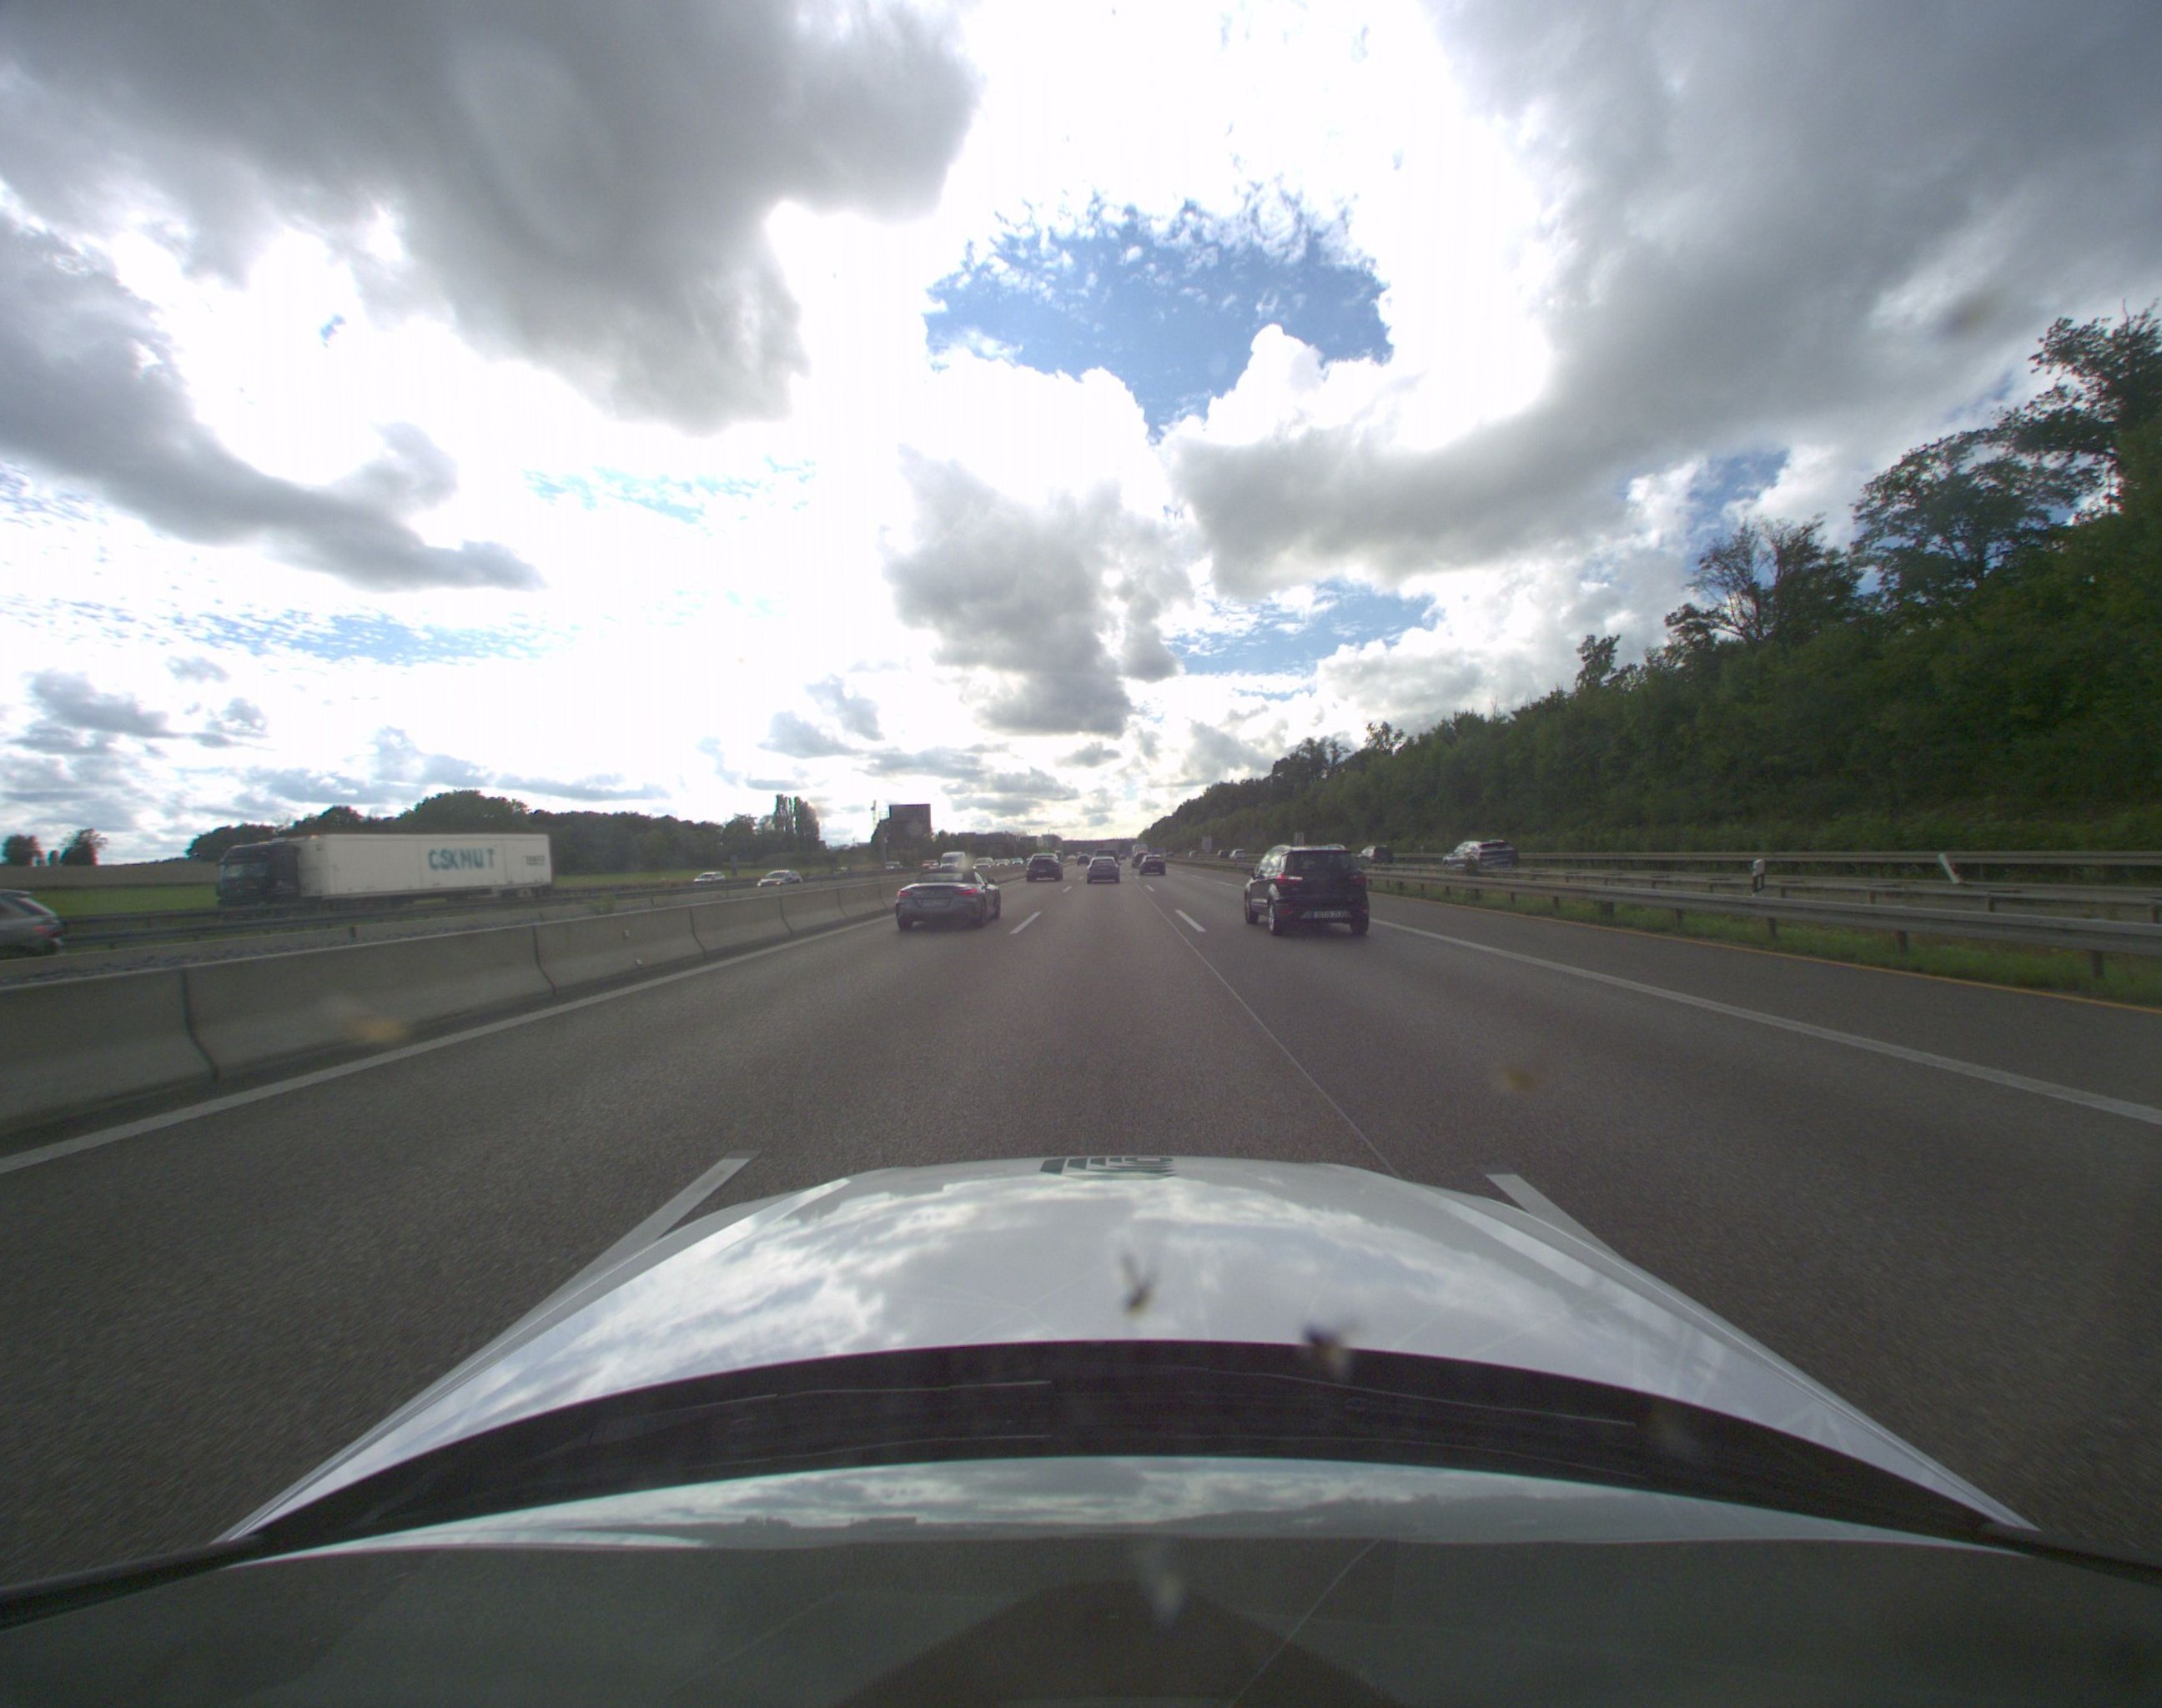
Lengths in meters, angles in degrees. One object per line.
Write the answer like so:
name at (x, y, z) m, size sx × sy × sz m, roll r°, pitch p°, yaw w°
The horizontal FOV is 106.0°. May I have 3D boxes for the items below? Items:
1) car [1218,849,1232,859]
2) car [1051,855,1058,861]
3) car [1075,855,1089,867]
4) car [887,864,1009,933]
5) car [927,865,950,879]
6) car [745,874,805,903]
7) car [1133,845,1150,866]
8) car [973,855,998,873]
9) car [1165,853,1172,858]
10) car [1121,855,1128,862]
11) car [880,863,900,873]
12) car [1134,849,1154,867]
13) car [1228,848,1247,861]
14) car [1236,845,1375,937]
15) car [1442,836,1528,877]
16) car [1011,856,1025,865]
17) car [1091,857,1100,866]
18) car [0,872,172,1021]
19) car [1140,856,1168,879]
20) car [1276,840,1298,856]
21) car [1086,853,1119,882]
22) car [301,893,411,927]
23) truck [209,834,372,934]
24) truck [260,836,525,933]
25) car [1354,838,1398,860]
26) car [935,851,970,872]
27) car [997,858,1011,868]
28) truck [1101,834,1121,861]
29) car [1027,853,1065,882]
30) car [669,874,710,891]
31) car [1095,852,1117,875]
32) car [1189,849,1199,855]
car at (25.703, 0.067, 145.470) m, size 1.745 × 1.695 × 4.192 m, roll -1°, pitch 0°, yaw 2°
car at (-7.701, 1.028, 234.122) m, size 1.772 × 1.645 × 4.073 m, roll -1°, pitch 0°, yaw 2°
car at (0.186, 0.990, 121.656) m, size 1.866 × 1.698 × 4.074 m, roll -1°, pitch 0°, yaw 2°
car at (-2.946, 0.932, 19.108) m, size 1.866 × 1.302 × 4.944 m, roll -1°, pitch 0°, yaw 2°
car at (-17.121, 2.155, 97.933) m, size 1.720 × 1.529 × 4.866 m, roll -1°, pitch 0°, yaw 1°
car at (-18.638, 2.088, 49.825) m, size 1.757 × 1.532 × 4.719 m, roll -1°, pitch 0°, yaw 2°
car at (7.100, 0.168, 96.027) m, size 1.866 × 2.357 × 4.284 m, roll -1°, pitch 0°, yaw 2°
car at (-9.546, 0.981, 81.817) m, size 1.757 × 1.731 × 4.705 m, roll -1°, pitch 0°, yaw 2°
car at (25.236, 0.419, 235.212) m, size 1.722 × 1.533 × 4.454 m, roll -2°, pitch 0°, yaw 2°
car at (11.314, 1.166, 212.873) m, size 1.745 × 1.695 × 4.192 m, roll -1°, pitch 0°, yaw 2°
car at (-32.622, 2.374, 139.512) m, size 1.986 × 1.700 × 5.635 m, roll -1°, pitch 0°, yaw 1°
car at (6.858, 0.435, 89.191) m, size 1.906 × 1.919 × 4.032 m, roll -1°, pitch 0°, yaw 2°
car at (21.079, 0.051, 109.808) m, size 1.745 × 1.695 × 4.192 m, roll -1°, pitch 0°, yaw 2°
car at (4.315, 0.651, 16.285) m, size 1.691 × 1.564 × 4.115 m, roll -1°, pitch 0°, yaw 1°
car at (18.379, 0.110, 37.270) m, size 1.839 × 1.650 × 4.308 m, roll -3°, pitch 0°, yaw 2°
car at (-10.885, 1.087, 140.891) m, size 1.756 × 1.532 × 4.720 m, roll -1°, pitch 0°, yaw 2°
car at (2.942, 1.524, 167.416) m, size 1.691 × 1.611 × 4.115 m, roll -1°, pitch 0°, yaw 1°
car at (-12.276, 1.013, 7.669) m, size 1.757 × 1.532 × 4.944 m, roll -1°, pitch 0°, yaw 2°
car at (5.280, 0.943, 59.388) m, size 1.825 × 1.521 × 4.227 m, roll -1°, pitch 0°, yaw 2°
car at (23.652, -0.643, 93.630) m, size 1.590 × 1.804 × 3.825 m, roll -1°, pitch 0°, yaw 0°
car at (1.212, 0.719, 44.927) m, size 1.714 × 1.479 × 4.393 m, roll -1°, pitch 0°, yaw 2°
car at (-35.576, 2.713, 40.118) m, size 1.602 × 1.313 × 4.115 m, roll -2°, pitch 0°, yaw 2°
truck at (-39.610, 1.436, 41.071) m, size 3.033 × 4.659 × 5.075 m, roll -1°, pitch 0°, yaw 3°
truck at (-39.350, 1.552, 47.899) m, size 3.062 × 4.802 × 14.134 m, roll -1°, pitch 0°, yaw 2°
car at (22.601, -0.380, 62.548) m, size 1.723 × 1.546 × 4.306 m, roll -4°, pitch 0°, yaw 0°
car at (-13.320, 0.756, 84.816) m, size 2.346 × 1.967 × 5.837 m, roll -1°, pitch 0°, yaw 2°
car at (-11.801, 1.372, 125.585) m, size 1.631 × 1.403 × 4.492 m, roll -1°, pitch 0°, yaw 1°
truck at (5.162, -1.090, 139.907) m, size 3.250 × 4.375 × 11.031 m, roll -1°, pitch 0°, yaw 2°
car at (-2.103, 0.769, 50.457) m, size 1.905 × 1.636 × 5.502 m, roll -1°, pitch 0°, yaw 2°
car at (-38.120, 2.765, 79.423) m, size 1.722 × 1.533 × 4.453 m, roll -1°, pitch 0°, yaw 1°
car at (1.990, 0.696, 64.525) m, size 1.714 × 1.724 × 4.393 m, roll -1°, pitch 0°, yaw 2°
car at (27.787, -0.495, 200.363) m, size 1.746 × 1.517 × 4.191 m, roll -1°, pitch 0°, yaw 1°
